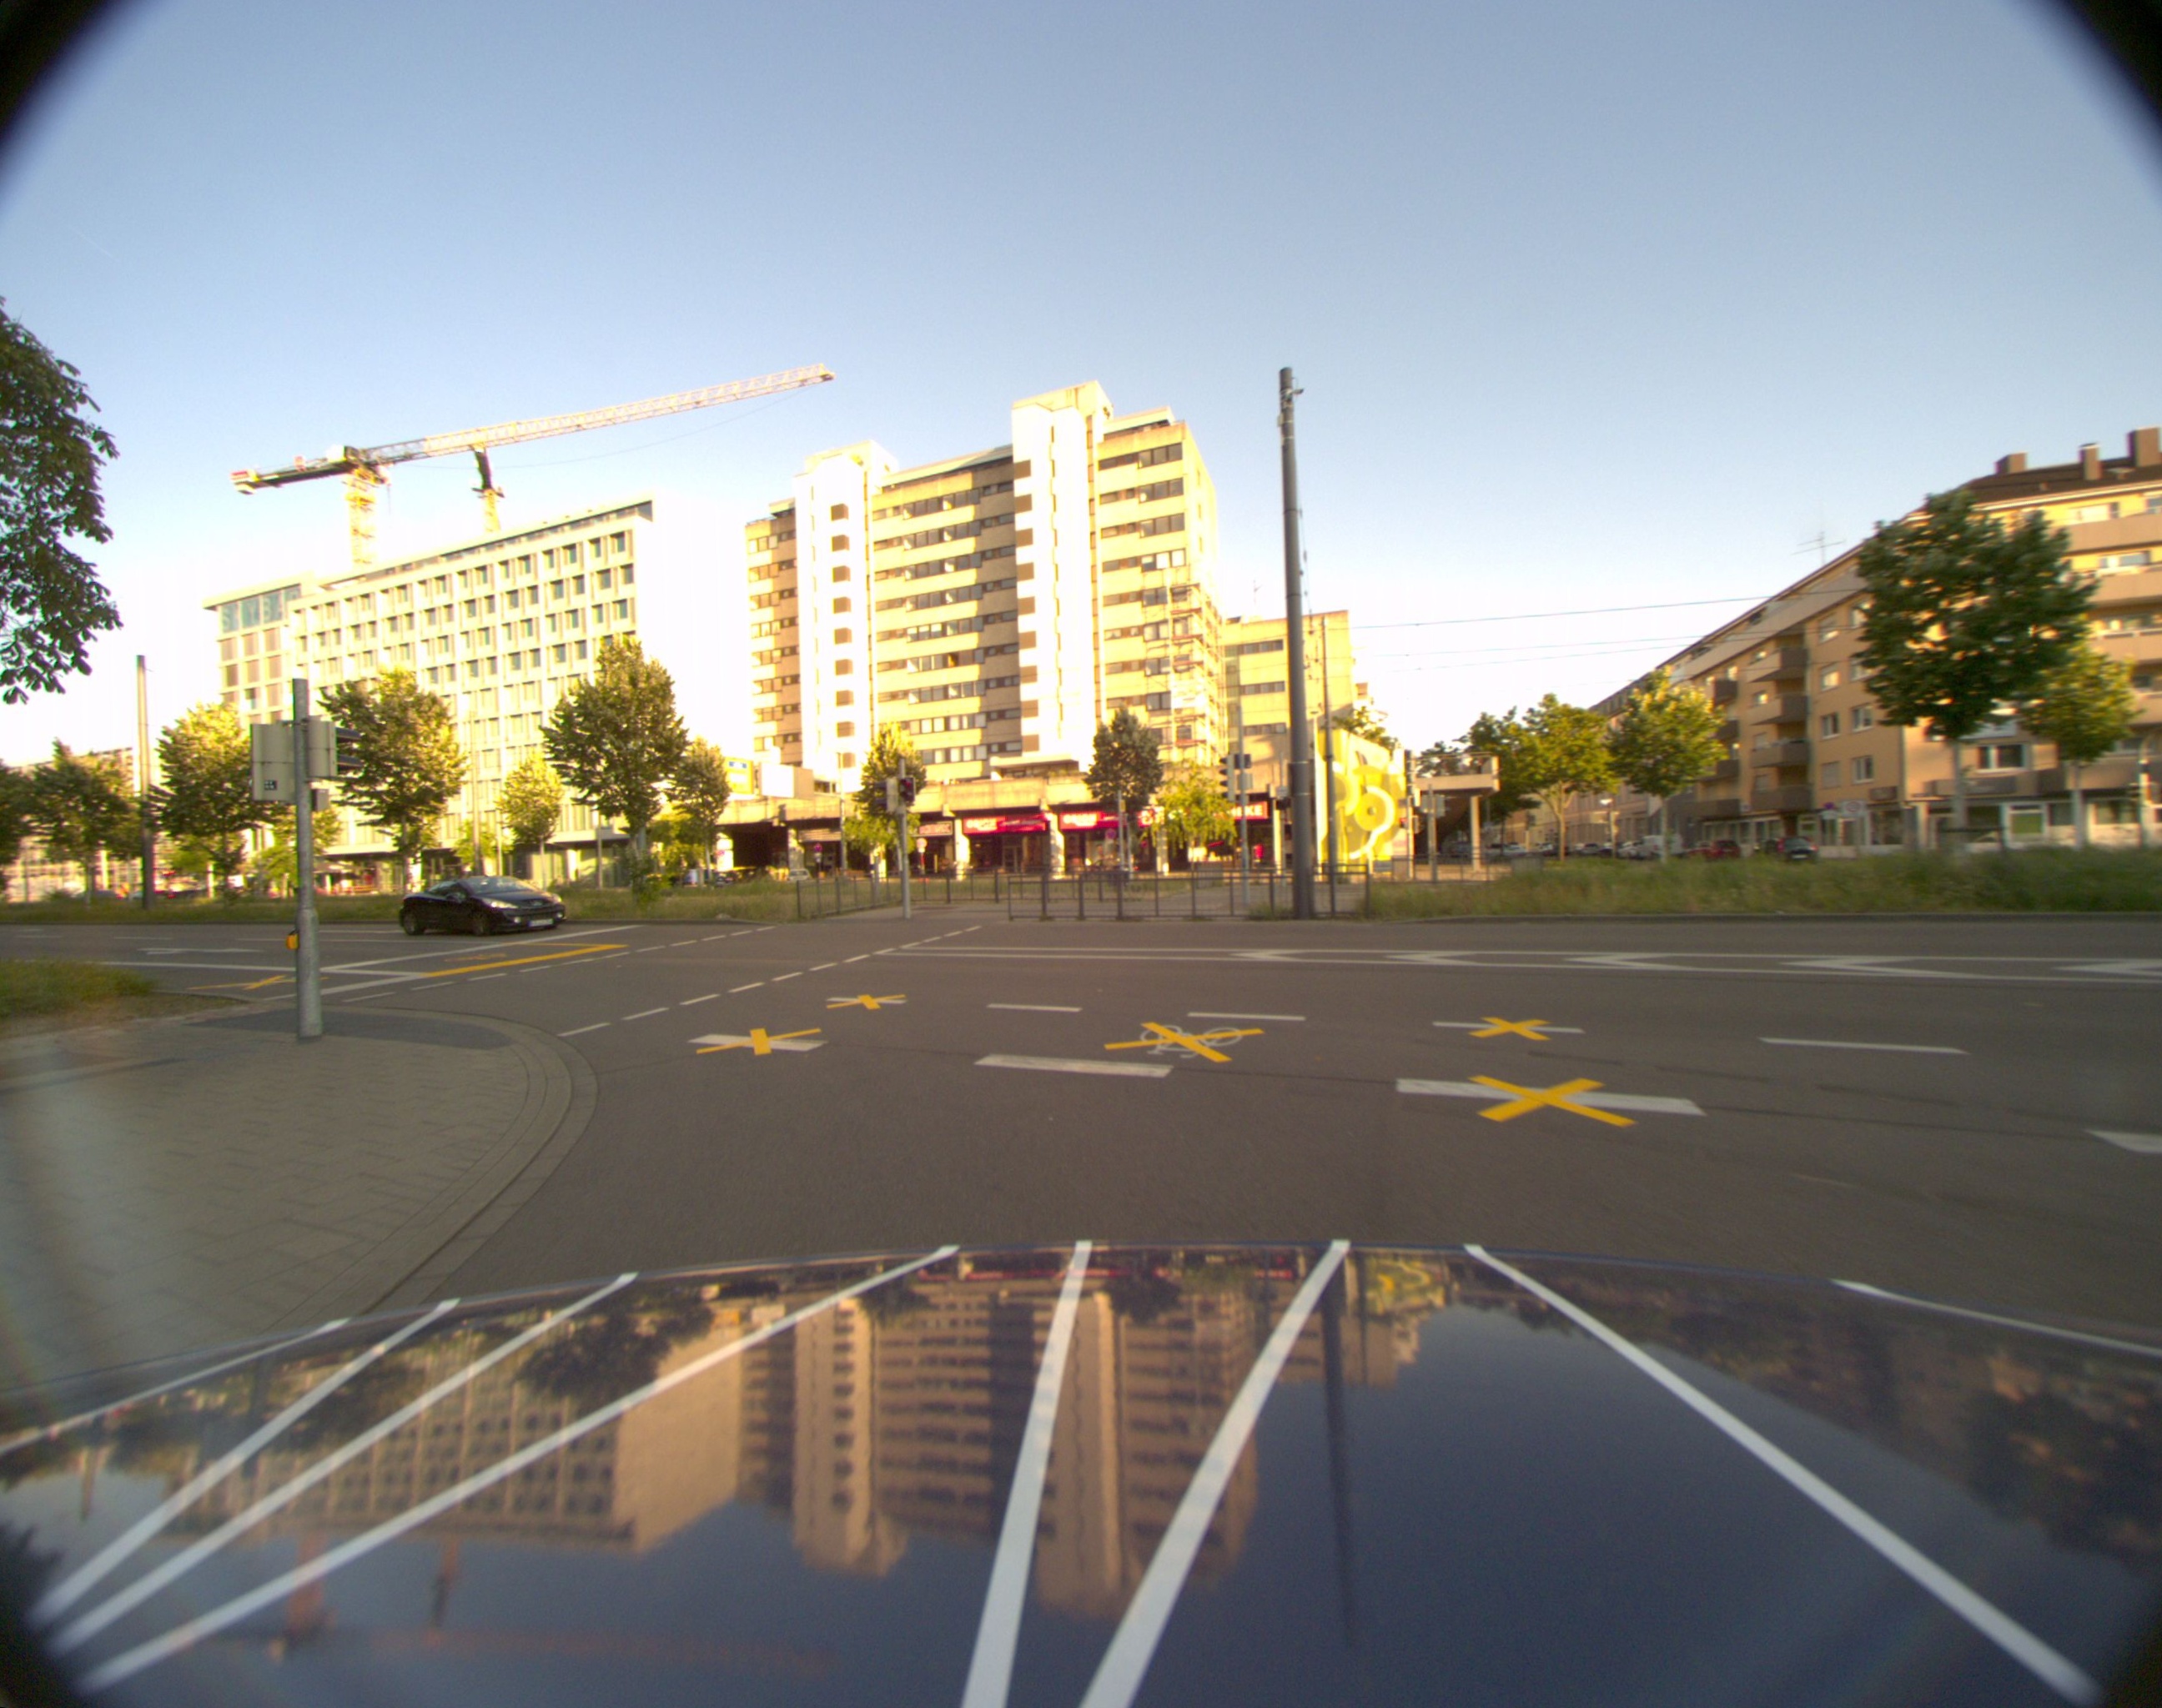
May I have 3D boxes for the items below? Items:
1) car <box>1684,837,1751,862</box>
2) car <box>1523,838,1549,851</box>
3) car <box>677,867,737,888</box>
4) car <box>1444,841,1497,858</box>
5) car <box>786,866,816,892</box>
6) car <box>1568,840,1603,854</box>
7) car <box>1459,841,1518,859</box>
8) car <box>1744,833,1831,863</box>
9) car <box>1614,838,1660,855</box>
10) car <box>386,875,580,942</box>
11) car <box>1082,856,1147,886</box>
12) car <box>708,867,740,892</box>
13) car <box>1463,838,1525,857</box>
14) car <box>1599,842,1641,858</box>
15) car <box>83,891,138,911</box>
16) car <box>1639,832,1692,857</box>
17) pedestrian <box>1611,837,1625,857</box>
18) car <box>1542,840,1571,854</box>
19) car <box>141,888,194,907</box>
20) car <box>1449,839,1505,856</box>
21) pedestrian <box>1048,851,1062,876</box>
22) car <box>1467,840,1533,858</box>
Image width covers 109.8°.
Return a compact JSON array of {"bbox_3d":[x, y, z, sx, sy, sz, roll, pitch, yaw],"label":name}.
[{"bbox_3d":[41.102,-0.288,49.185,1.996,1.477,4.005,-2,0,19],"label":"car"},{"bbox_3d":[56.279,-1.220,93.997,1.996,1.521,4.005,-2,0,19],"label":"car"},{"bbox_3d":[-31.497,1.993,64.065,1.719,1.552,4.338,-2,0,25],"label":"car"},{"bbox_3d":[39.971,-0.425,78.053,4.634,1.551,2.003,-2,0,20],"label":"car"},{"bbox_3d":[-18.655,1.602,50.550,1.724,1.552,4.323,-2,0,-22],"label":"car"},{"bbox_3d":[50.529,-0.708,76.128,1.996,1.237,4.005,-2,0,19],"label":"car"},{"bbox_3d":[37.981,-0.383,70.952,4.634,1.551,2.003,-2,0,20],"label":"car"},{"bbox_3d":[38.185,-0.342,41.179,1.996,1.477,4.005,-2,0,19],"label":"car"},{"bbox_3d":[45.903,-0.635,62.804,1.996,1.237,4.005,-2,0,19],"label":"car"},{"bbox_3d":[-14.126,1.259,17.977,3.900,1.380,1.803,-2,0,20],"label":"car"},{"bbox_3d":[1.828,0.920,42.750,1.964,1.552,4.337,-2,0,-22],"label":"car"},{"bbox_3d":[-24.644,1.737,52.521,1.724,1.552,4.323,-2,0,-22],"label":"car"},{"bbox_3d":[37.248,-0.586,68.652,4.634,1.551,2.003,-2,0,20],"label":"car"},{"bbox_3d":[47.390,-0.369,66.860,1.996,1.237,4.005,-2,0,19],"label":"car"},{"bbox_3d":[-83.861,4.068,65.674,4.321,1.552,1.725,-2,1,21],"label":"car"},{"bbox_3d":[43.846,-0.708,57.133,1.996,1.740,4.005,-2,0,19],"label":"car"},{"bbox_3d":[53.340,-0.696,75.477,0.890,2.002,0.772,-1,1,19],"label":"pedestrian"},{"bbox_3d":[54.029,-0.826,86.443,1.996,1.521,4.005,-2,0,19],"label":"car"},{"bbox_3d":[-82.745,3.958,68.797,4.321,1.552,1.725,-2,1,21],"label":"car"},{"bbox_3d":[38.995,-0.629,74.914,4.634,1.551,2.003,-2,0,20],"label":"car"},{"bbox_3d":[-1.726,0.649,49.918,0.724,1.604,0.657,-2,1,15],"label":"pedestrian"},{"bbox_3d":[35.145,-0.421,63.858,4.634,1.390,2.003,-2,0,20],"label":"car"}]
